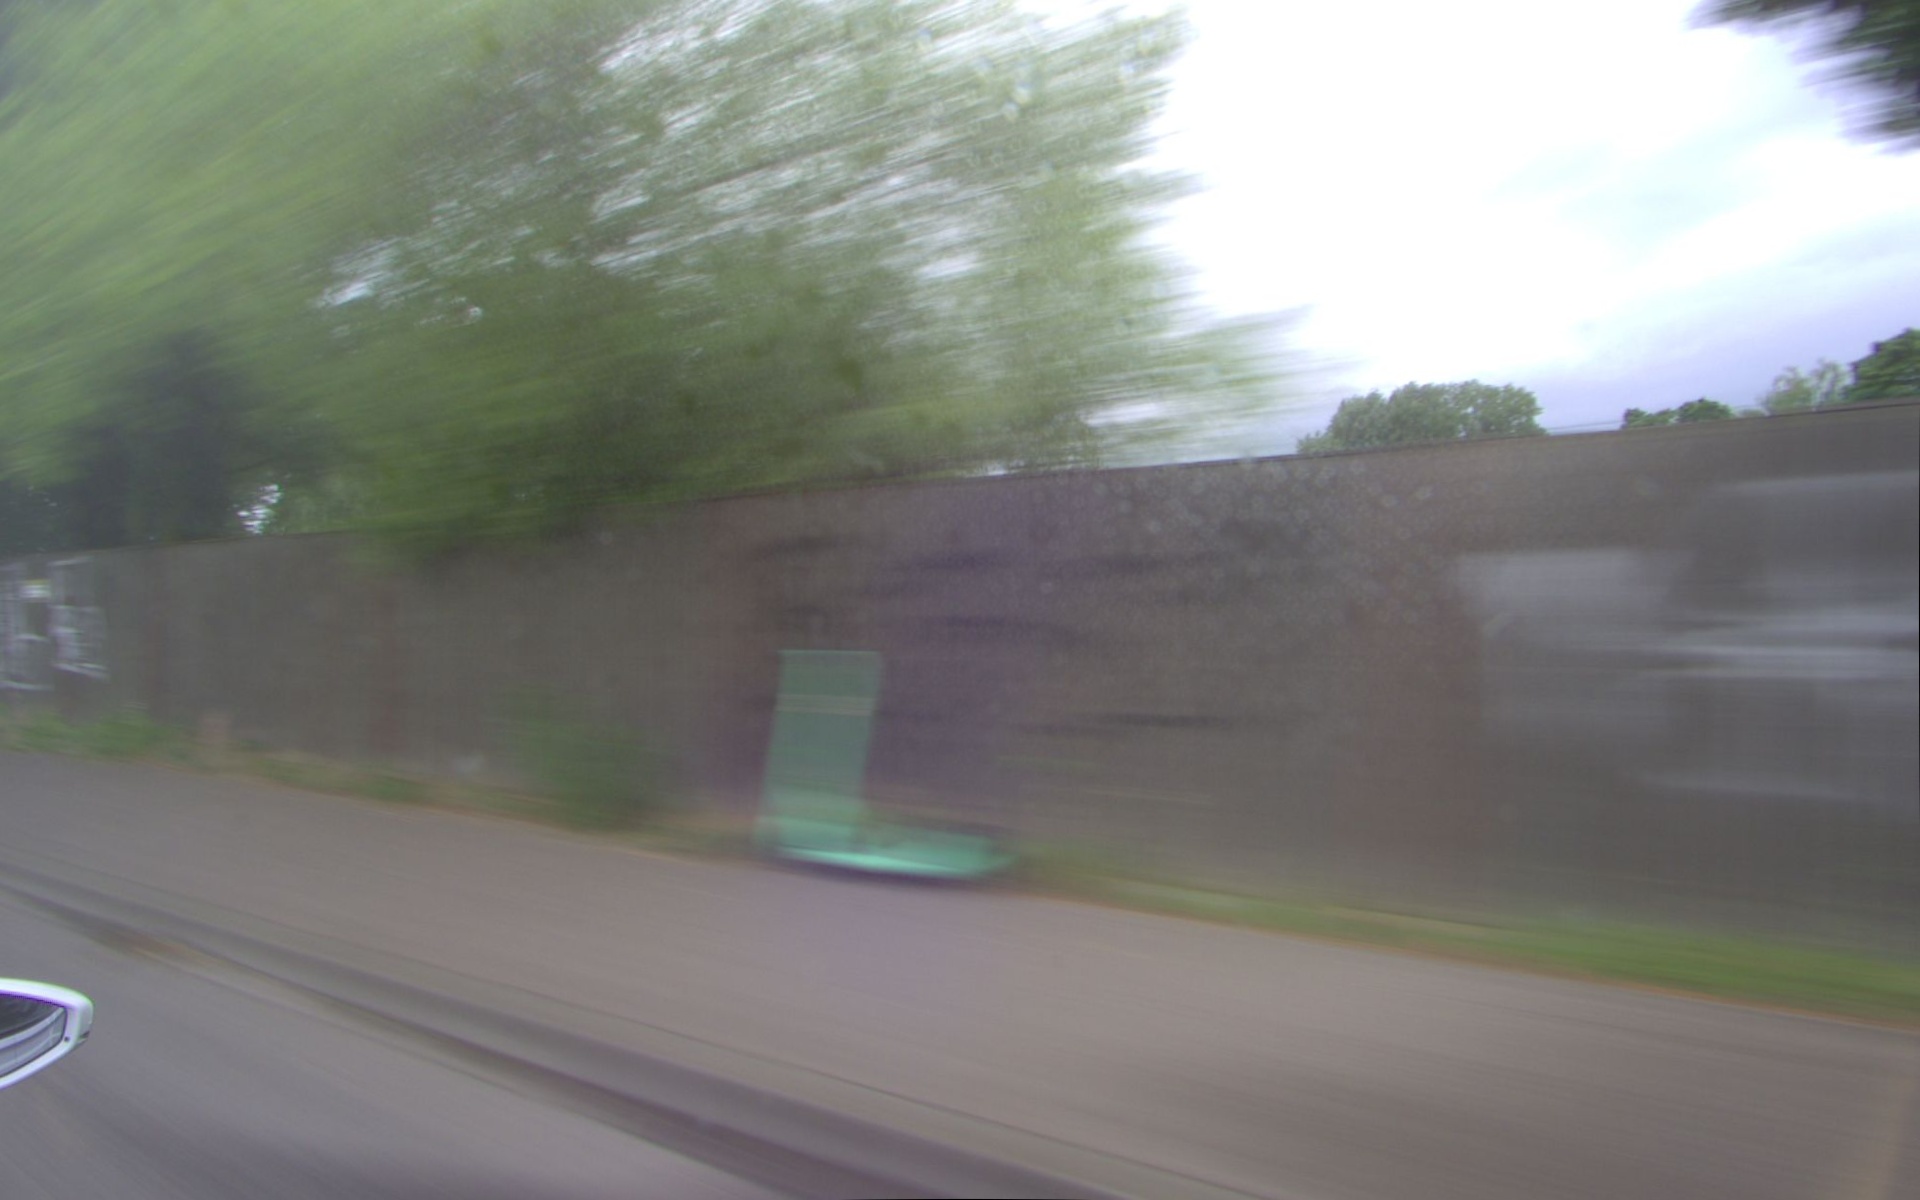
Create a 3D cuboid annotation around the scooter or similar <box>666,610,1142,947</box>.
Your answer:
[{"bbox_3d":[-0.338,0.727,4.893,2.317,1.330,0.690,0,1,29],"label":"scooter or similar"}]
